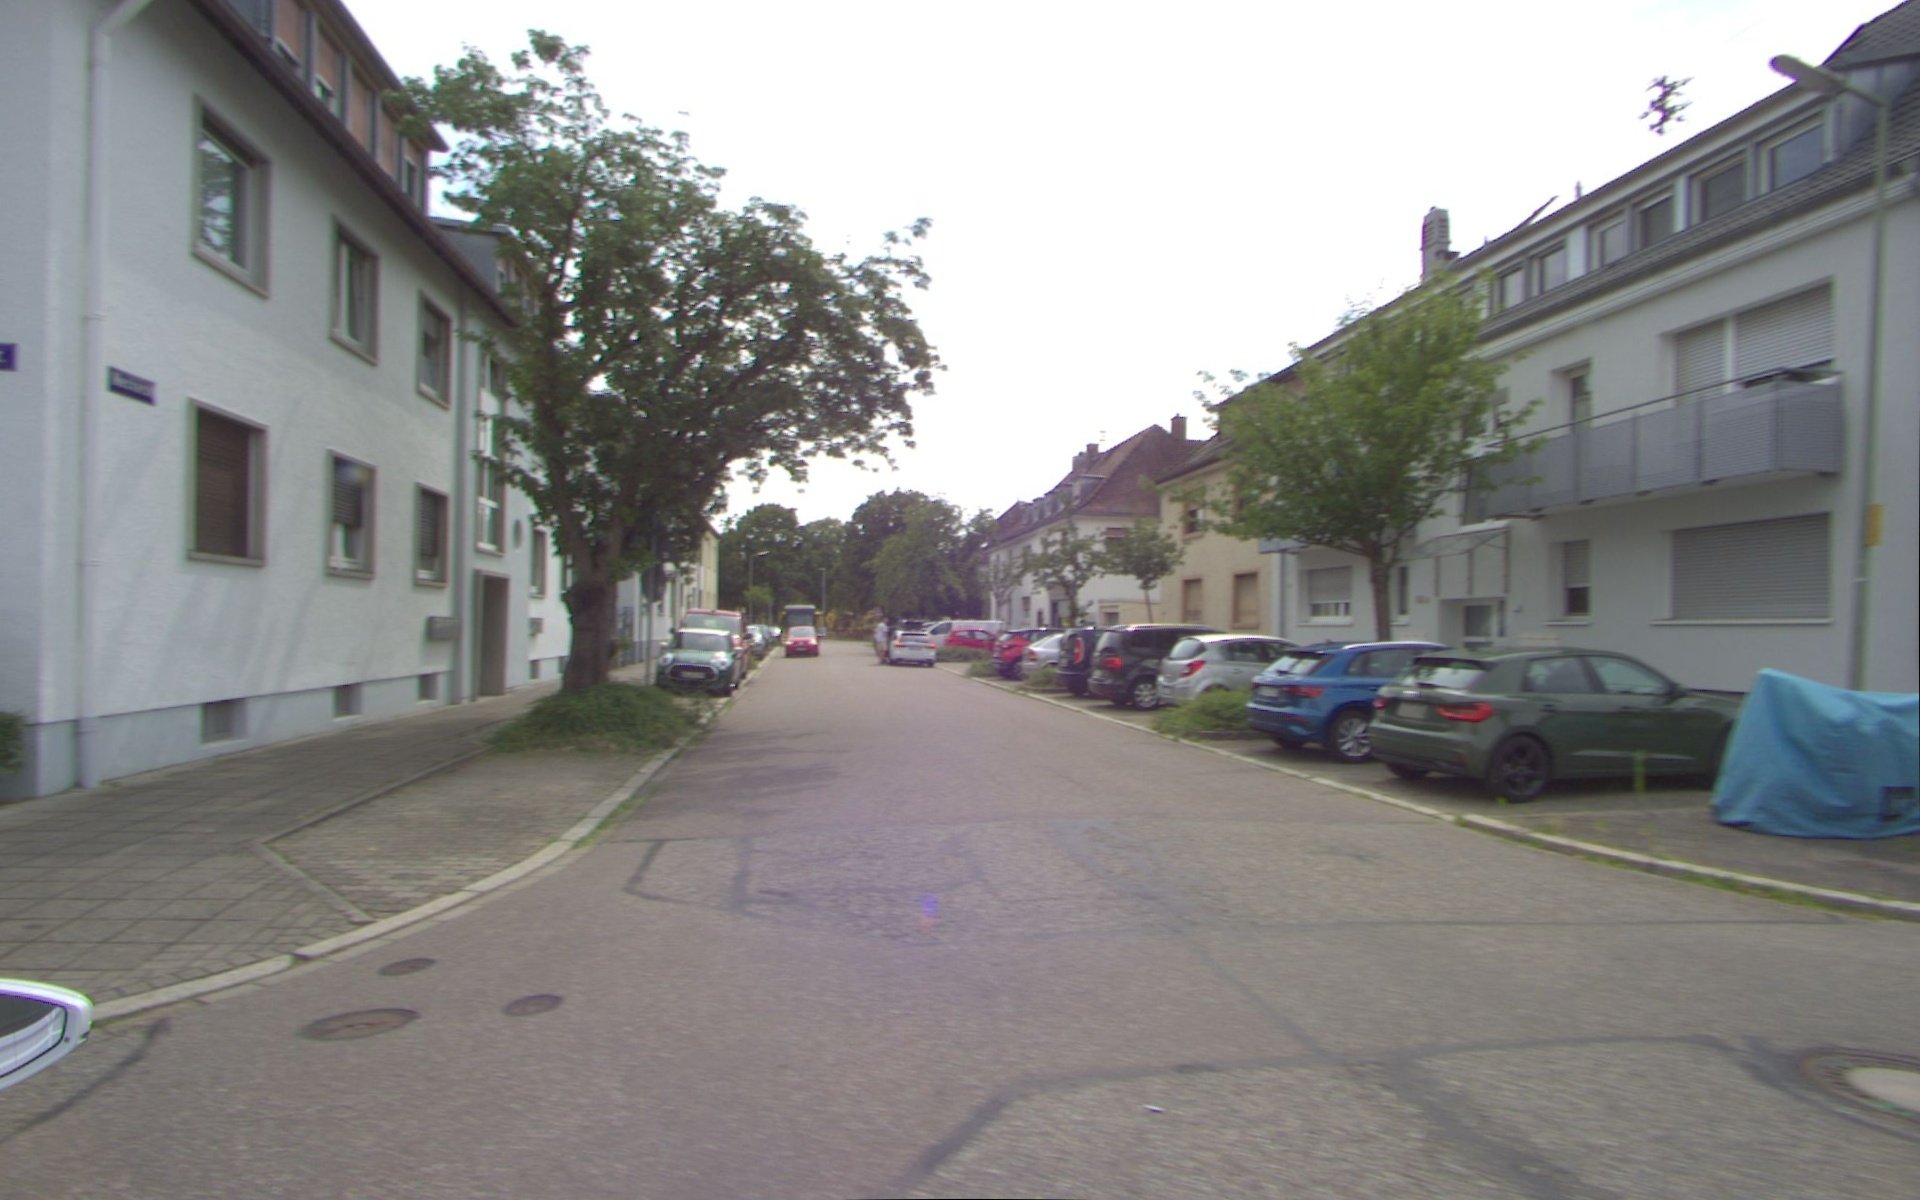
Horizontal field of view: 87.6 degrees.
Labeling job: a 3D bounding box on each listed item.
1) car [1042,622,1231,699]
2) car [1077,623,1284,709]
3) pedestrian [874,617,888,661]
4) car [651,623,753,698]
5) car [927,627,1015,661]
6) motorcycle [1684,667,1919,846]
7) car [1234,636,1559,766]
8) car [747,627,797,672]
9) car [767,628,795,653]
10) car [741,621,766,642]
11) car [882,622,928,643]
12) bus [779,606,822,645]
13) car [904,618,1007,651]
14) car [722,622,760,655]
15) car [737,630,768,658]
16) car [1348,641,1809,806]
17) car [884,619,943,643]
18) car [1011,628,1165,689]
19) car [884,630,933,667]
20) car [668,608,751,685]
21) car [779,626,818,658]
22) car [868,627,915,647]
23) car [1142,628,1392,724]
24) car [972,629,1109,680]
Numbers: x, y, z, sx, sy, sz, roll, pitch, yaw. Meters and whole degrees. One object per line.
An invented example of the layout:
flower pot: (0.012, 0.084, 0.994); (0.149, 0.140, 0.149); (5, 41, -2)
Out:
car: (4.058, 1.372, 23.342); (3.924, 1.639, 1.867); (-1, -1, -9)
car: (4.400, 1.295, 20.263); (3.688, 1.585, 1.772); (-1, -1, -8)
pedestrian: (-3.119, 1.531, 39.544); (0.514, 1.726, 0.444); (-1, 0, -6)
car: (-5.899, 1.330, 23.266); (1.735, 1.574, 3.730); (-1, -1, -6)
car: (0.513, 2.073, 47.589); (3.924, 1.538, 1.722); (-1, -1, -10)
motorcycle: (6.958, 1.169, 7.781); (2.159, 1.226, 0.939); (1, -1, -11)
car: (5.449, 1.212, 12.676); (3.462, 1.430, 1.558); (-1, -1, -9)
car: (-6.621, 1.708, 35.366); (1.625, 1.480, 3.551); (-1, -1, -10)
car: (-10.749, 2.398, 60.248); (1.625, 1.395, 3.720); (-1, -1, -10)
car: (-15.097, 2.296, 73.274); (1.568, 1.443, 3.540); (-1, -1, -9)
car: (-4.367, 2.542, 78.857); (3.474, 1.623, 1.772); (-1, -1, -8)
bus: (-12.350, 2.003, 78.199); (2.956, 2.797, 8.923); (-1, -1, -7)
car: (-0.248, 1.716, 50.007); (4.898, 1.538, 1.767); (-1, -1, -11)
car: (-10.018, 1.748, 45.945); (1.626, 1.395, 3.719); (-1, -1, -12)
car: (-10.556, 2.219, 50.980); (1.515, 1.318, 3.719); (-1, -1, -12)
car: (6.129, 1.153, 10.142); (3.688, 1.383, 1.772); (-1, -1, -8)
car: (-2.843, 1.886, 61.228); (3.474, 1.444, 1.598); (-1, -1, -8)
car: (3.536, 1.596, 27.929); (3.924, 1.538, 1.722); (-1, -1, -10)
car: (-2.176, 1.964, 41.248); (1.660, 1.371, 3.825); (-1, -1, -8)
car: (-7.153, 1.304, 29.023); (1.962, 2.039, 4.518); (1, -1, -10)
car: (-8.108, 2.050, 50.105); (1.835, 1.505, 3.998); (-1, -1, -10)
car: (-5.281, 2.858, 76.890); (3.474, 1.444, 1.598); (-1, -1, -8)
car: (5.443, 1.310, 17.967); (3.924, 1.538, 1.722); (-1, -1, -10)
car: (2.473, 1.662, 31.169); (3.924, 1.457, 1.722); (-1, -1, -10)
